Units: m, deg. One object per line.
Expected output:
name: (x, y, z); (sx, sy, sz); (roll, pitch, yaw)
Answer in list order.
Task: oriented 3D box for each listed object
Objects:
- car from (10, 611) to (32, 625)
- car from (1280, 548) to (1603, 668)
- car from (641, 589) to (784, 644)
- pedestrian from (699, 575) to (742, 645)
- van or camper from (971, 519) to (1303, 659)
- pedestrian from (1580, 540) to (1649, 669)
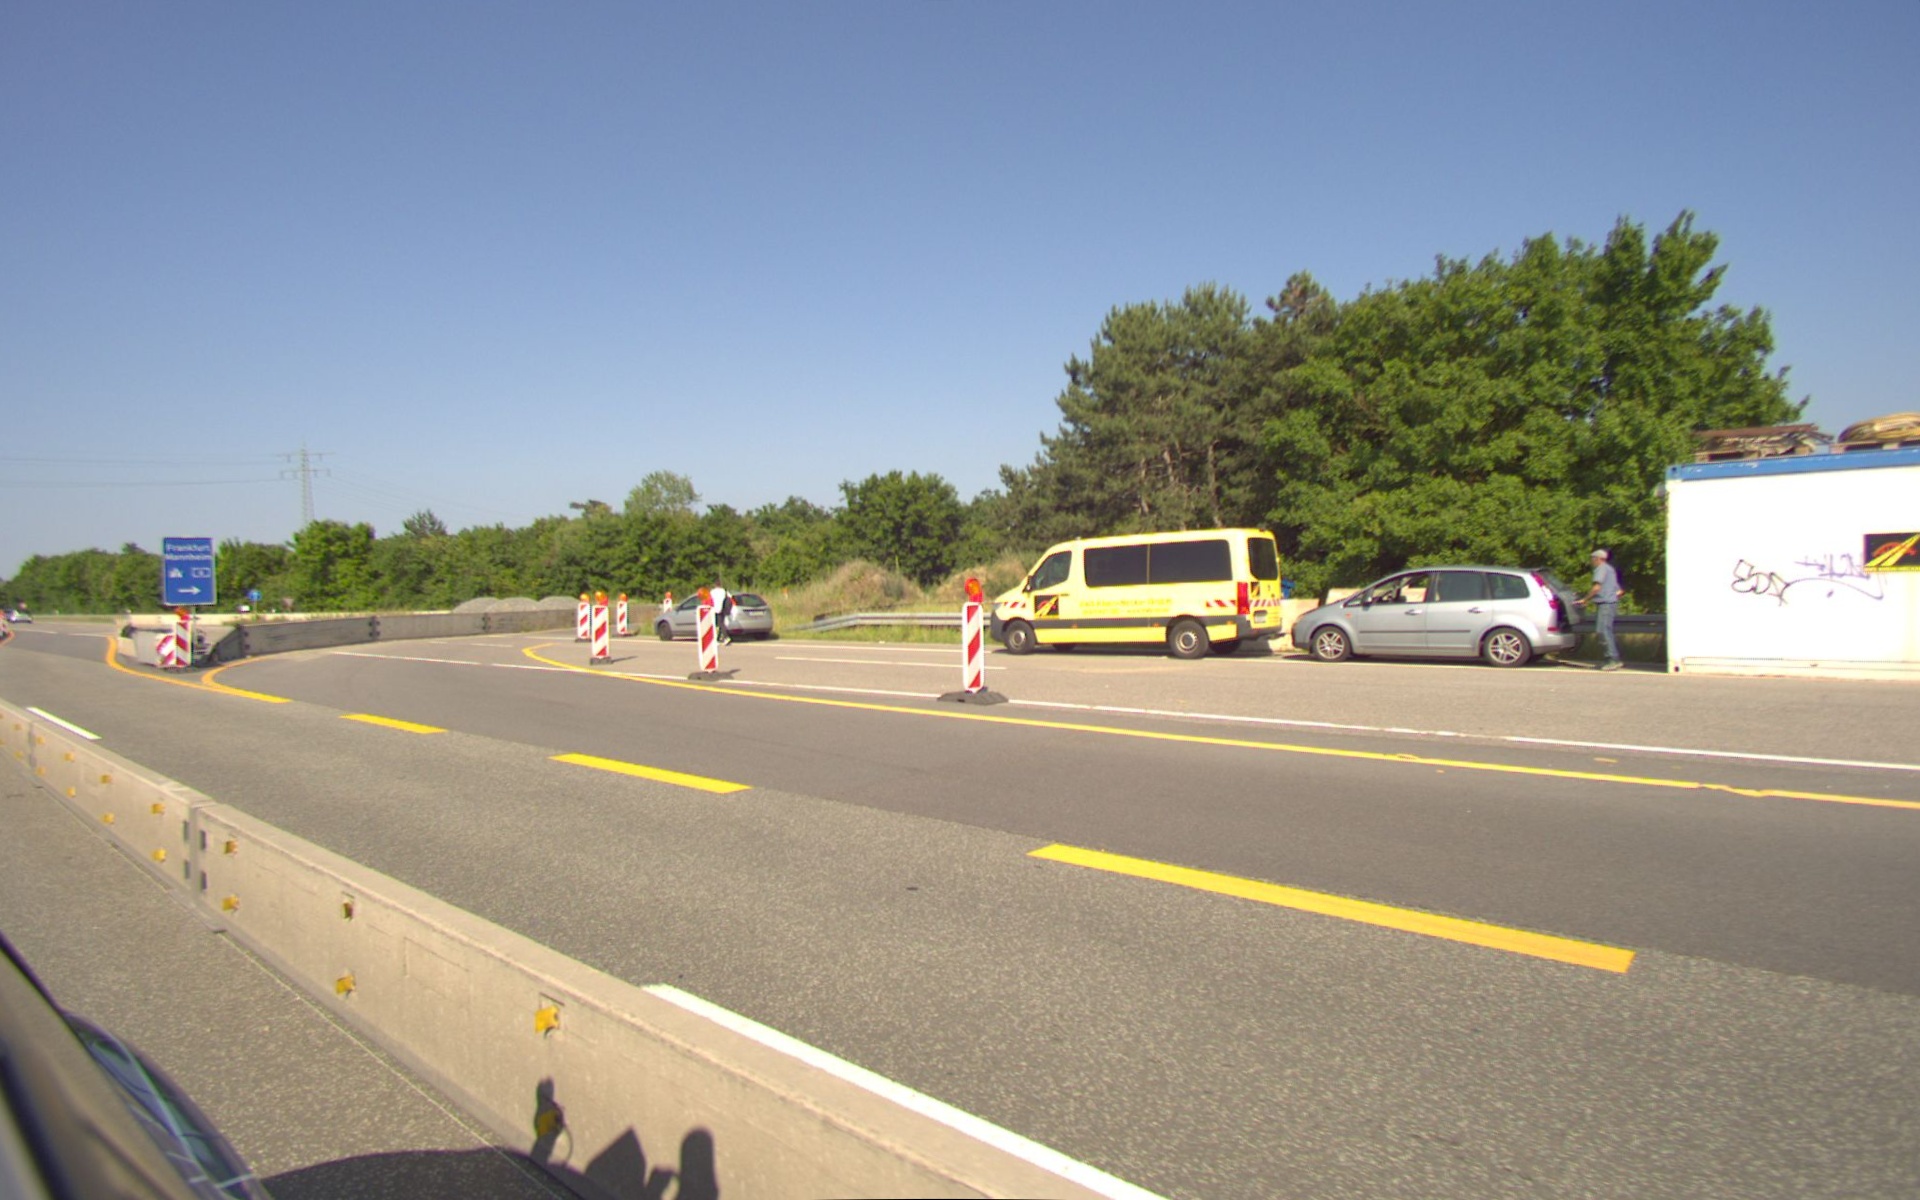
car: (-103.576, 1.975, 111.648); (1.691, 1.527, 4.182); (-2, 0, -43)
car: (7.690, 0.113, 16.409); (4.453, 1.698, 1.671); (-1, 1, 39)
car: (-7.357, 0.478, 29.937); (4.289, 1.471, 1.845); (-1, 1, 38)
pedestrian: (-6.377, 0.263, 26.985); (0.794, 1.834, 0.736); (-1, 0, 30)
van or camper: (3.313, -0.158, 19.899); (6.189, 2.396, 1.976); (-1, 0, 36)
pedestrian: (9.367, 0.067, 14.477); (0.720, 1.775, 0.715); (-1, 0, 40)
